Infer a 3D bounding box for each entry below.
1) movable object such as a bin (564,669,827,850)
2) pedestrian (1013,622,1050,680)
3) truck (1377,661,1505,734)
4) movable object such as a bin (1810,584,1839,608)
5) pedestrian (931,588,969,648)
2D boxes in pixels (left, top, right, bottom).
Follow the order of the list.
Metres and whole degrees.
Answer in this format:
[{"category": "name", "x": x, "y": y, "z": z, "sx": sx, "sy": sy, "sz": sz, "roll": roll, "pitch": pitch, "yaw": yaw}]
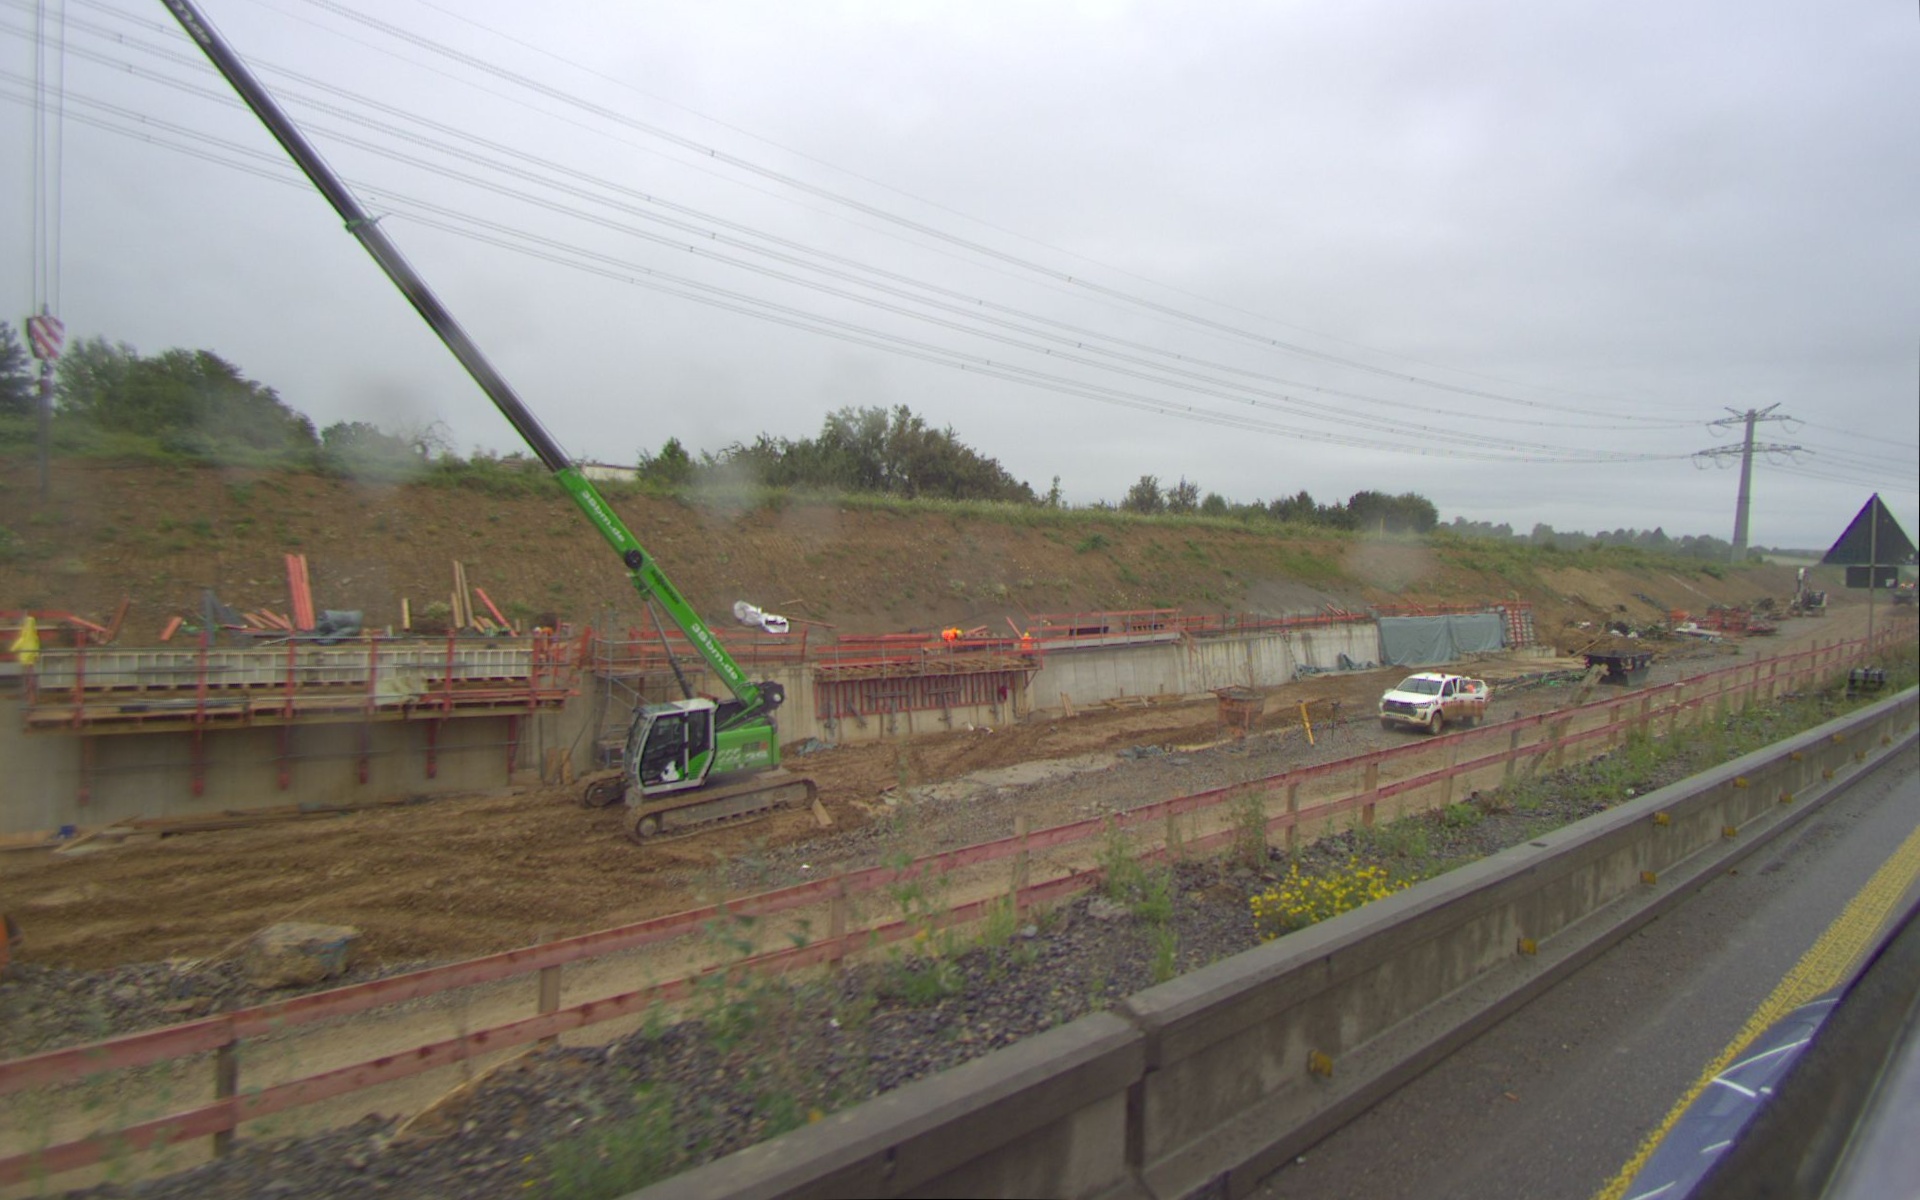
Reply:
[{"category": "movable object such as a bin", "x": -6.282, "y": 3.547, "z": 24.129, "sx": 4.774, "sy": 2.836, "sz": 3.800, "roll": -7, "pitch": 6, "yaw": -40}, {"category": "pedestrian", "x": 2.872, "y": 2.036, "z": 40.496, "sx": 0.987, "sy": 2.260, "sz": 0.917, "roll": -2, "pitch": -3, "yaw": -36}, {"category": "truck", "x": 16.823, "y": 3.312, "z": 35.236, "sx": 5.684, "sy": 1.894, "sz": 1.766, "roll": -1, "pitch": 3, "yaw": -40}, {"category": "movable object such as a bin", "x": 104.555, "y": -0.491, "z": 122.380, "sx": 3.933, "sy": 2.753, "sz": 2.248, "roll": -1, "pitch": 1, "yaw": -43}, {"category": "pedestrian", "x": -0.399, "y": 0.718, "z": 39.831, "sx": 0.989, "sy": 2.275, "sz": 0.915, "roll": -1, "pitch": -3, "yaw": -43}]
